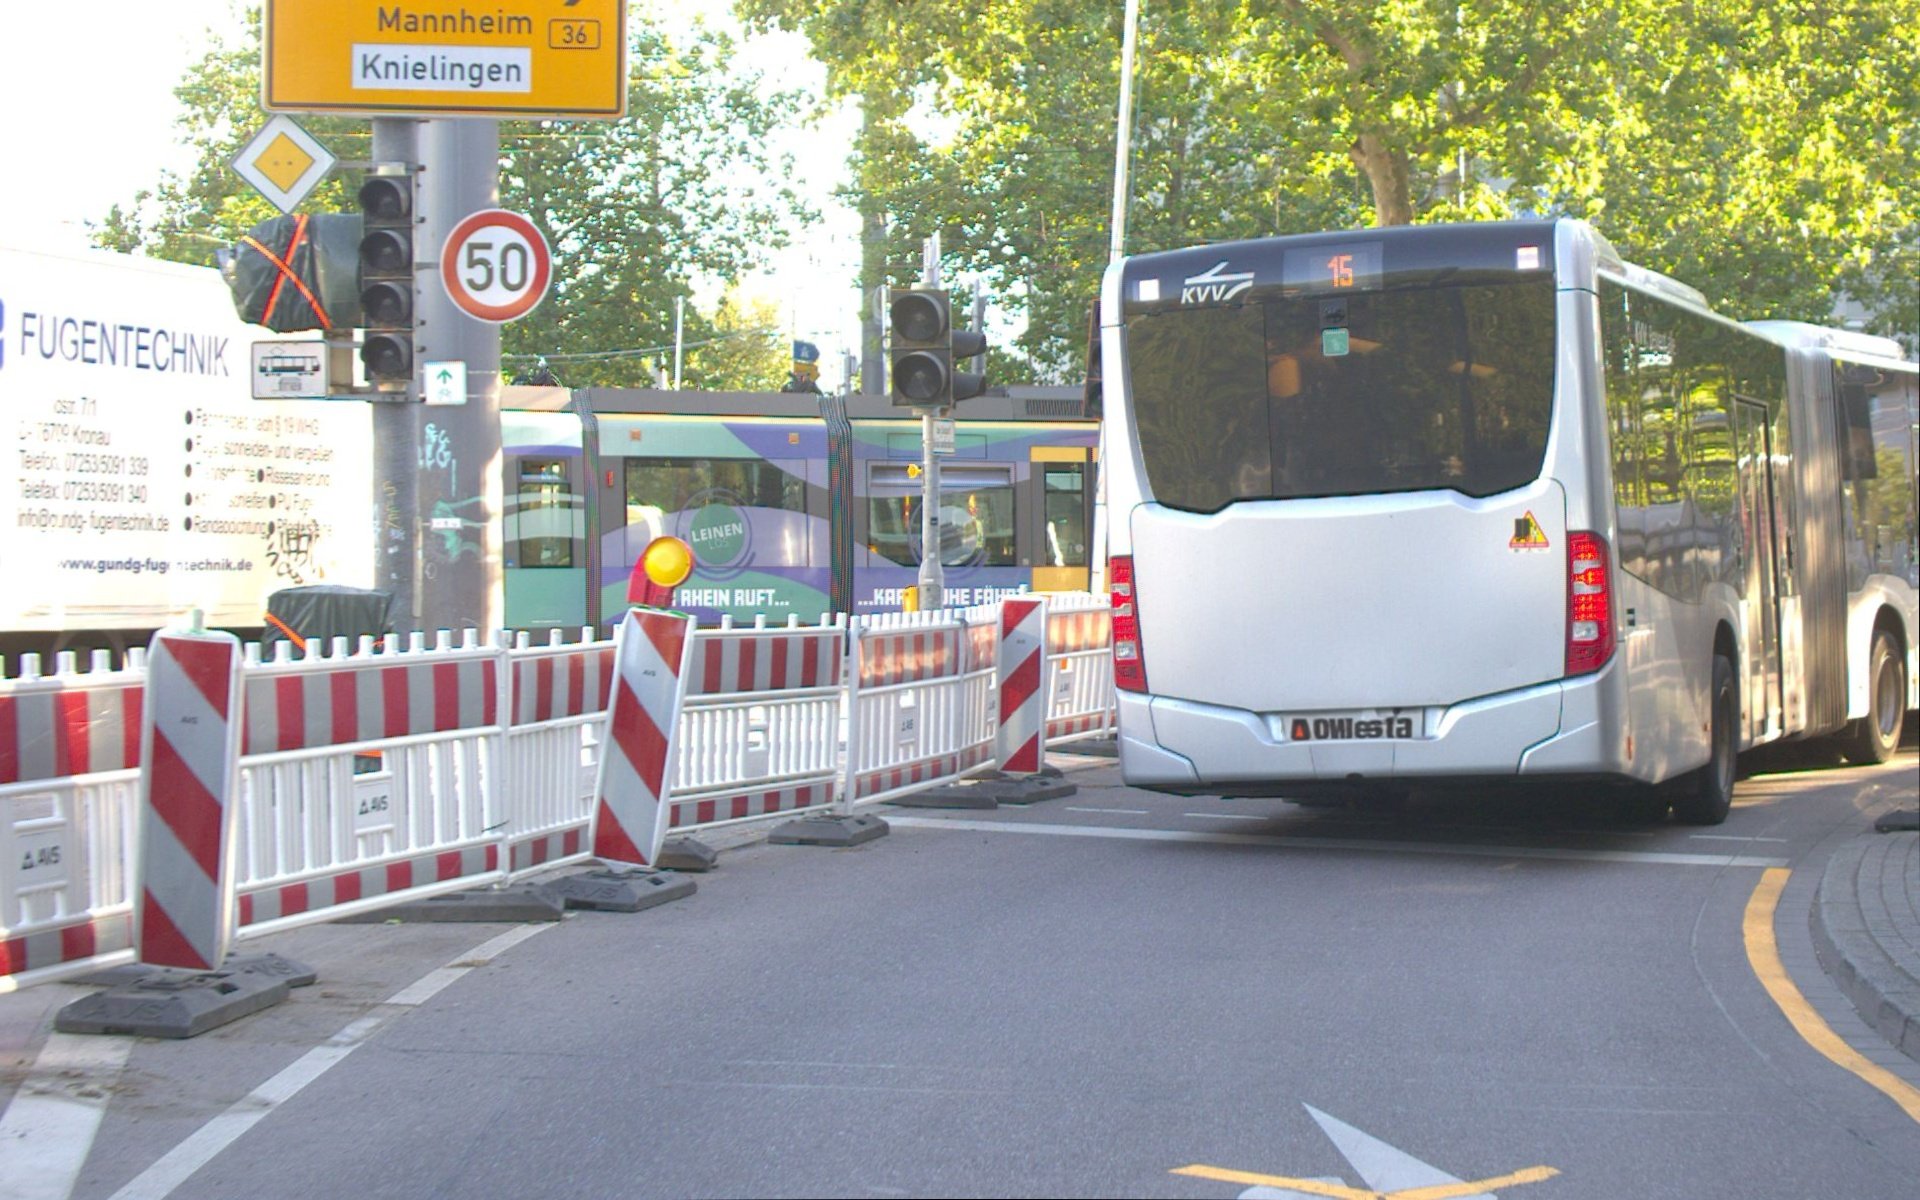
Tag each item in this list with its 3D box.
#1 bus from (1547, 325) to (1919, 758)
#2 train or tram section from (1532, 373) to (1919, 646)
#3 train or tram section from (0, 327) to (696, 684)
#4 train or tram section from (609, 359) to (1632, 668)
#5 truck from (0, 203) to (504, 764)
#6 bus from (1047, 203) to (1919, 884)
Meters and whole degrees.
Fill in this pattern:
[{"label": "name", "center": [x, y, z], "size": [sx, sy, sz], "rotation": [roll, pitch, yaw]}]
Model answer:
[{"label": "bus", "center": [7.979, -0.530, 29.155], "size": [2.713, 3.096, 8.964], "rotation": [1, 2, 32]}, {"label": "train or tram section", "center": [14.515, -1.156, 47.205], "size": [13.285, 3.507, 2.650], "rotation": [0, 0, -16]}, {"label": "train or tram section", "center": [-9.015, -0.949, 36.147], "size": [13.357, 3.521, 2.858], "rotation": [0, 1, -41]}, {"label": "train or tram section", "center": [2.162, -0.992, 42.956], "size": [12.739, 3.537, 2.738], "rotation": [0, 0, -21]}, {"label": "truck", "center": [-6.567, -0.791, 24.359], "size": [2.815, 3.529, 8.974], "rotation": [1, 1, 20]}, {"label": "bus", "center": [3.791, -0.389, 21.242], "size": [2.737, 3.128, 10.690], "rotation": [0, 1, 23]}]
